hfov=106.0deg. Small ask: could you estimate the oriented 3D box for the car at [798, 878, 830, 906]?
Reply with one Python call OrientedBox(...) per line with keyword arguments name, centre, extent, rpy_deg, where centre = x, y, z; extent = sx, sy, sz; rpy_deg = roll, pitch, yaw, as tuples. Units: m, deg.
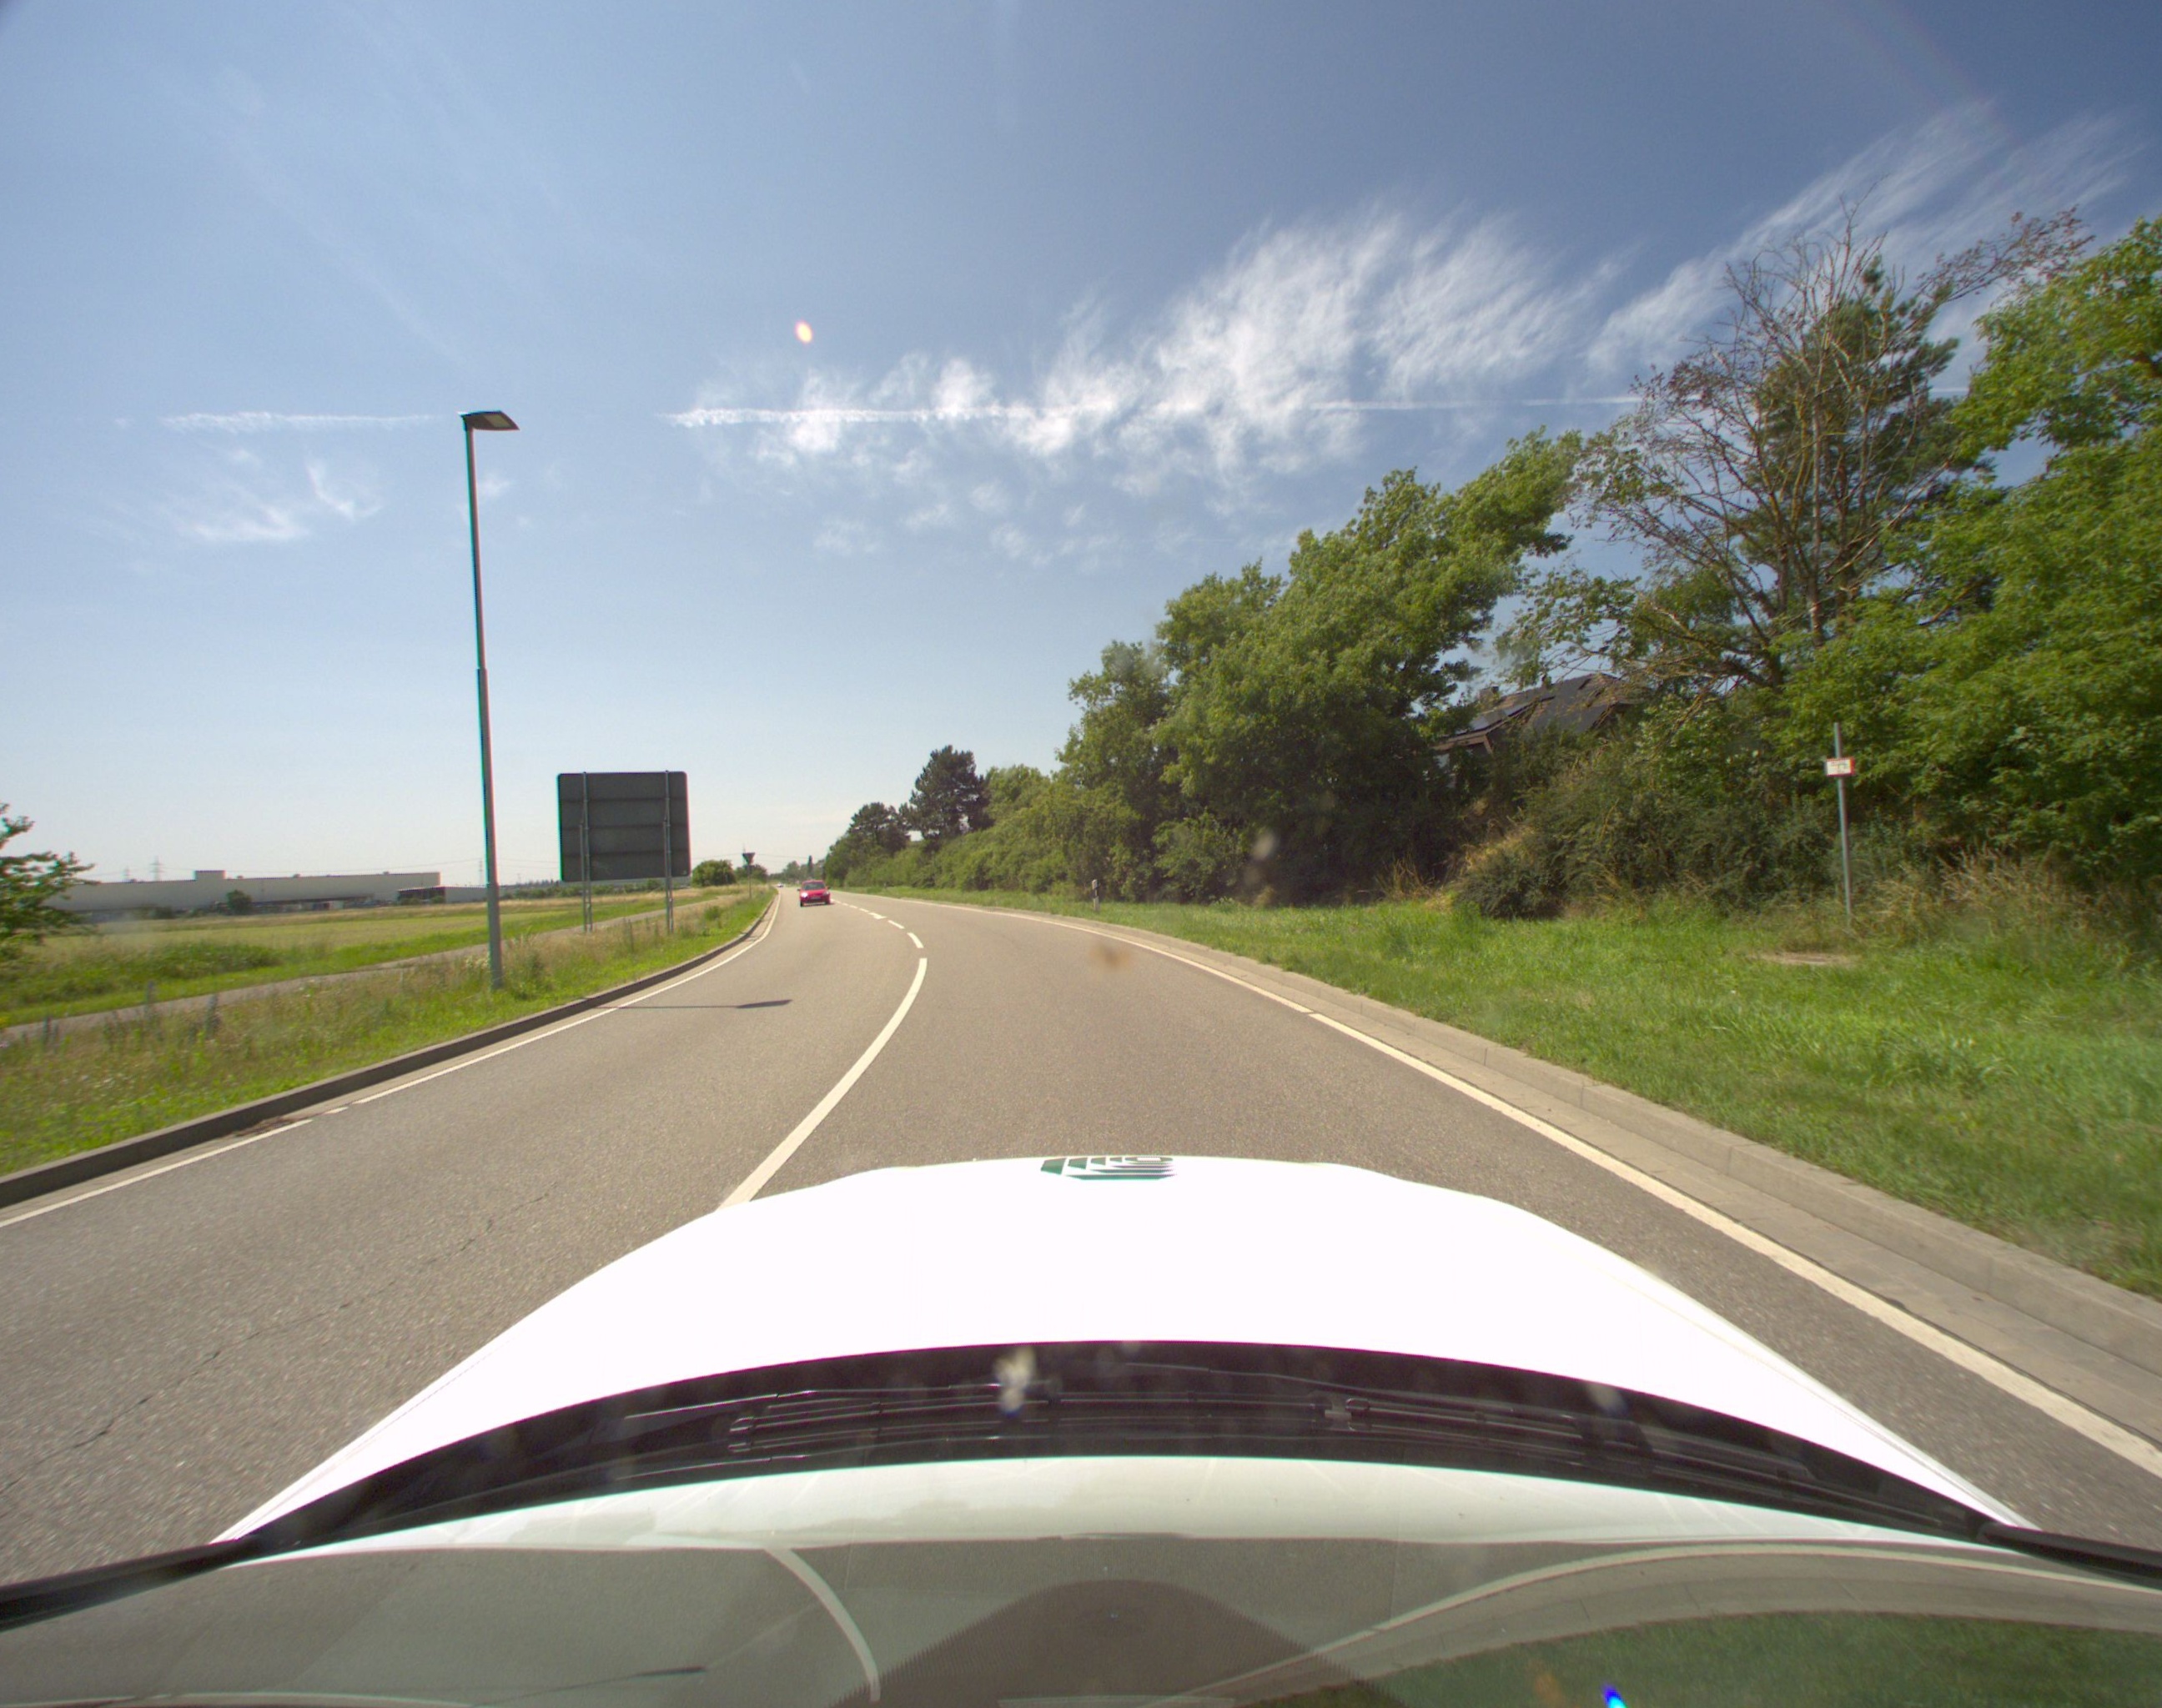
OrientedBox(name="car", centre=(-15.737, 2.201, 48.023), extent=(1.660, 1.433, 3.712), rpy_deg=(-4, 0, -19))
